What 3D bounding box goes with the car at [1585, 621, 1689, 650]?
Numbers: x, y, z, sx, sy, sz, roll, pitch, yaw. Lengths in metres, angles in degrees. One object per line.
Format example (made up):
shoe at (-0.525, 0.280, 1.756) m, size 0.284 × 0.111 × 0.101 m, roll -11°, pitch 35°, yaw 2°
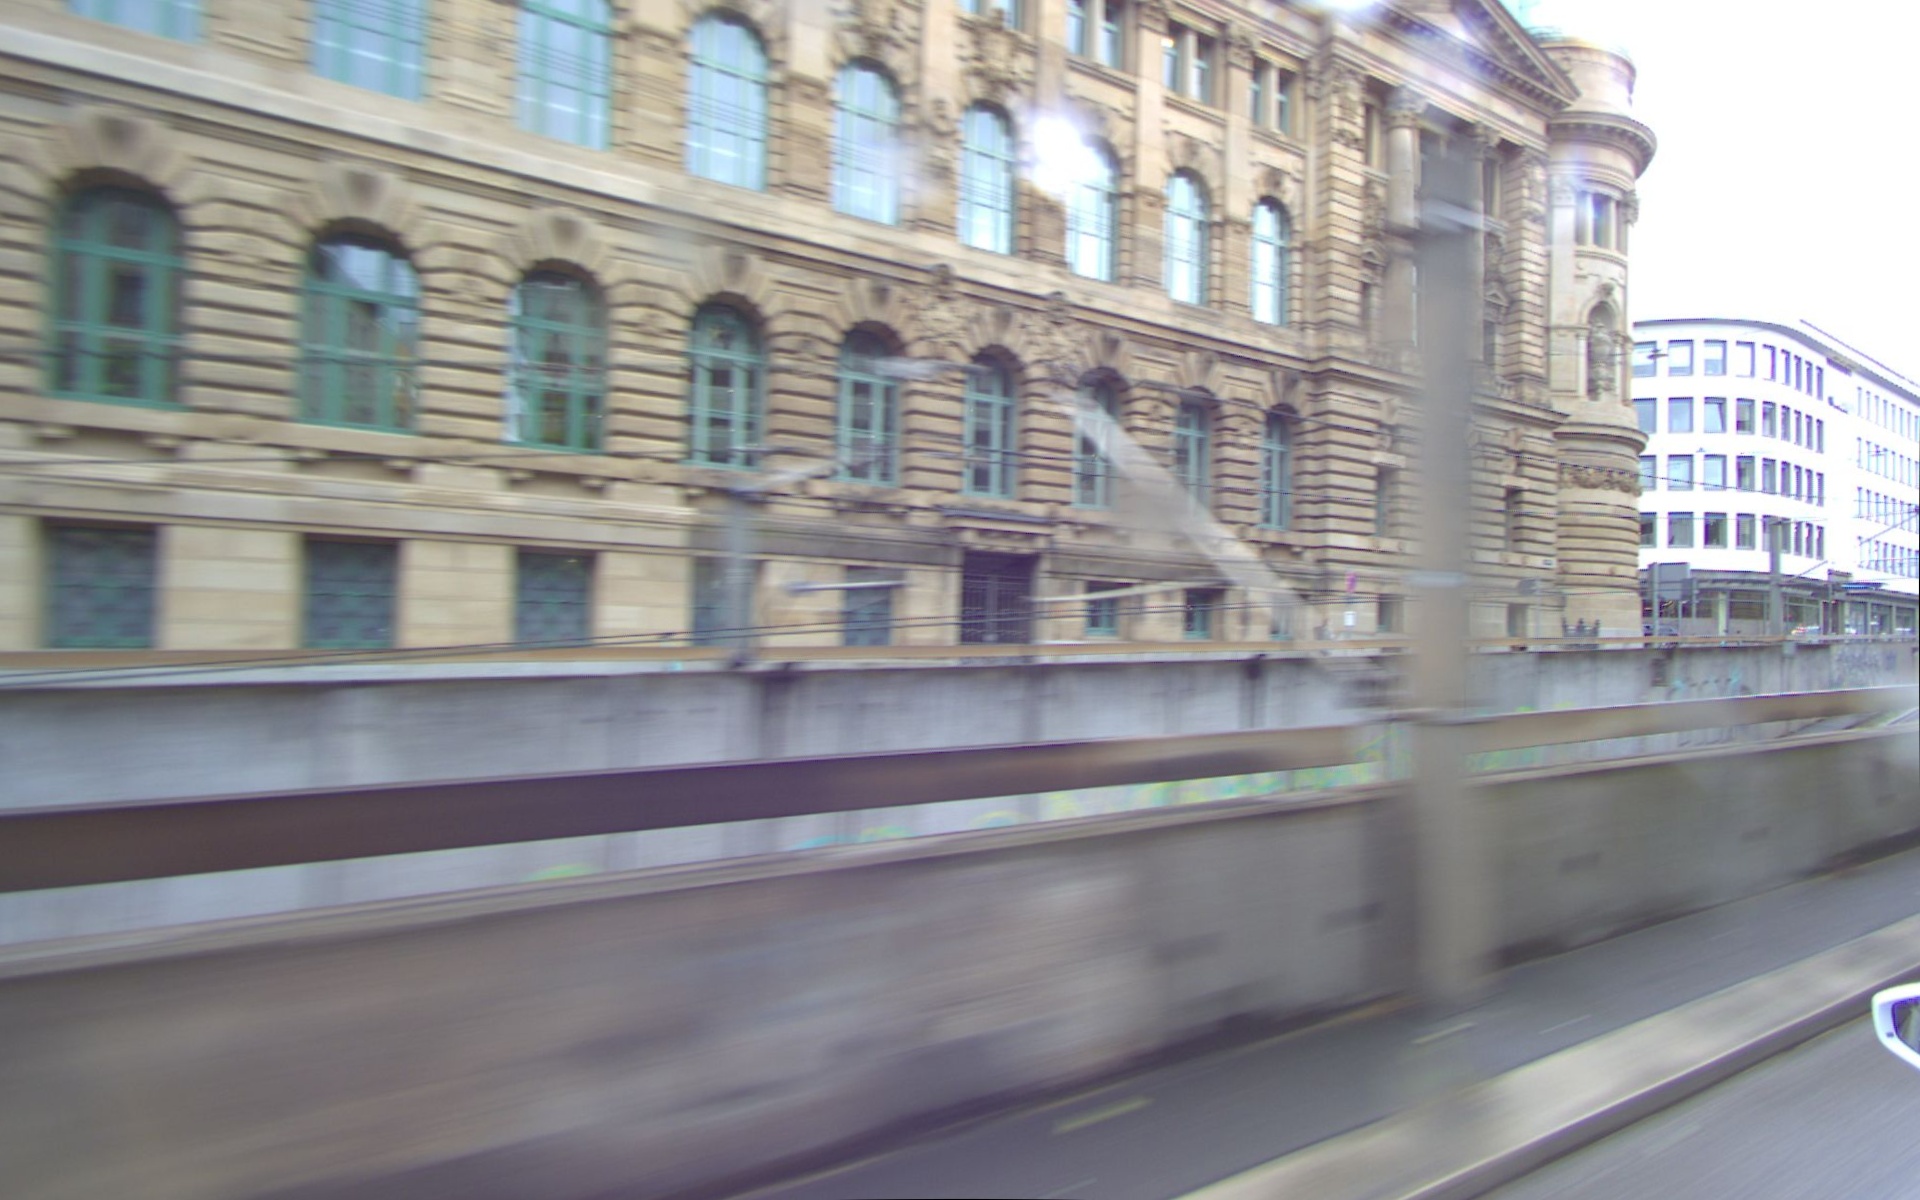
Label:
car at (39.387, 2.111, 58.554) m, size 4.686 × 1.541 × 1.676 m, roll -2°, pitch -4°, yaw 20°
